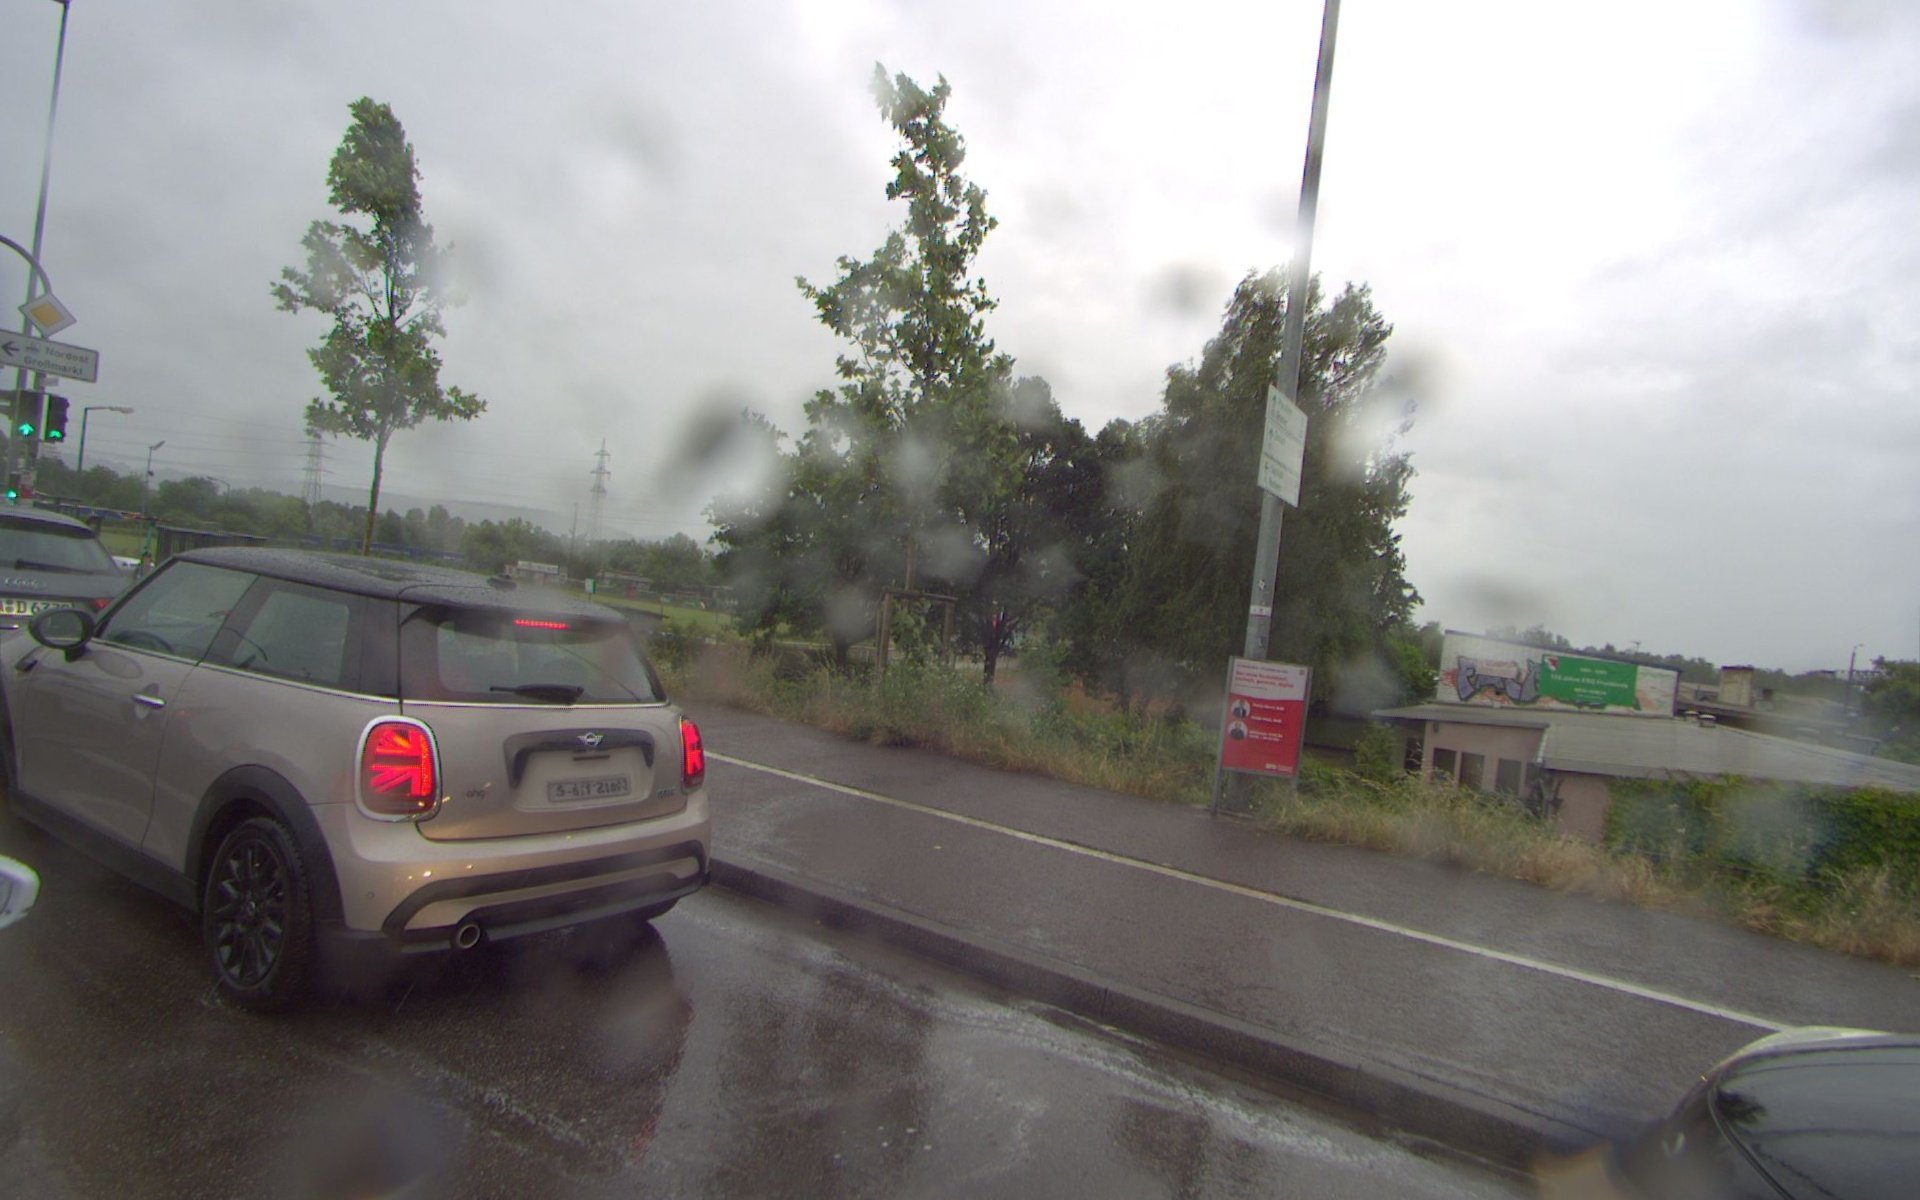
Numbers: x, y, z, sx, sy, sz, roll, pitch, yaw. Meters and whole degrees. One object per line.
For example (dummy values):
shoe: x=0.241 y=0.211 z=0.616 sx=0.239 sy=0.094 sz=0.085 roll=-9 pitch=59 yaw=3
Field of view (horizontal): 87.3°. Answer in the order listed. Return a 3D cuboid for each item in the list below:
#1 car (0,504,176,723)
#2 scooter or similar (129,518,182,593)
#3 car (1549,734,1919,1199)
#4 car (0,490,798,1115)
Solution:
car: x=-7.486 y=-0.074 z=7.234 sx=3.563 sy=1.360 sz=1.632 roll=6 pitch=-2 yaw=31
scooter or similar: x=-13.667 y=-0.770 z=17.083 sx=1.167 sy=1.171 sz=0.246 roll=6 pitch=-1 yaw=33
car: x=2.762 y=1.187 z=1.075 sx=3.563 sy=1.445 sz=1.632 roll=7 pitch=-1 yaw=31
car: x=-2.705 y=0.497 z=4.297 sx=3.563 sy=1.525 sz=1.717 roll=7 pitch=-2 yaw=31
